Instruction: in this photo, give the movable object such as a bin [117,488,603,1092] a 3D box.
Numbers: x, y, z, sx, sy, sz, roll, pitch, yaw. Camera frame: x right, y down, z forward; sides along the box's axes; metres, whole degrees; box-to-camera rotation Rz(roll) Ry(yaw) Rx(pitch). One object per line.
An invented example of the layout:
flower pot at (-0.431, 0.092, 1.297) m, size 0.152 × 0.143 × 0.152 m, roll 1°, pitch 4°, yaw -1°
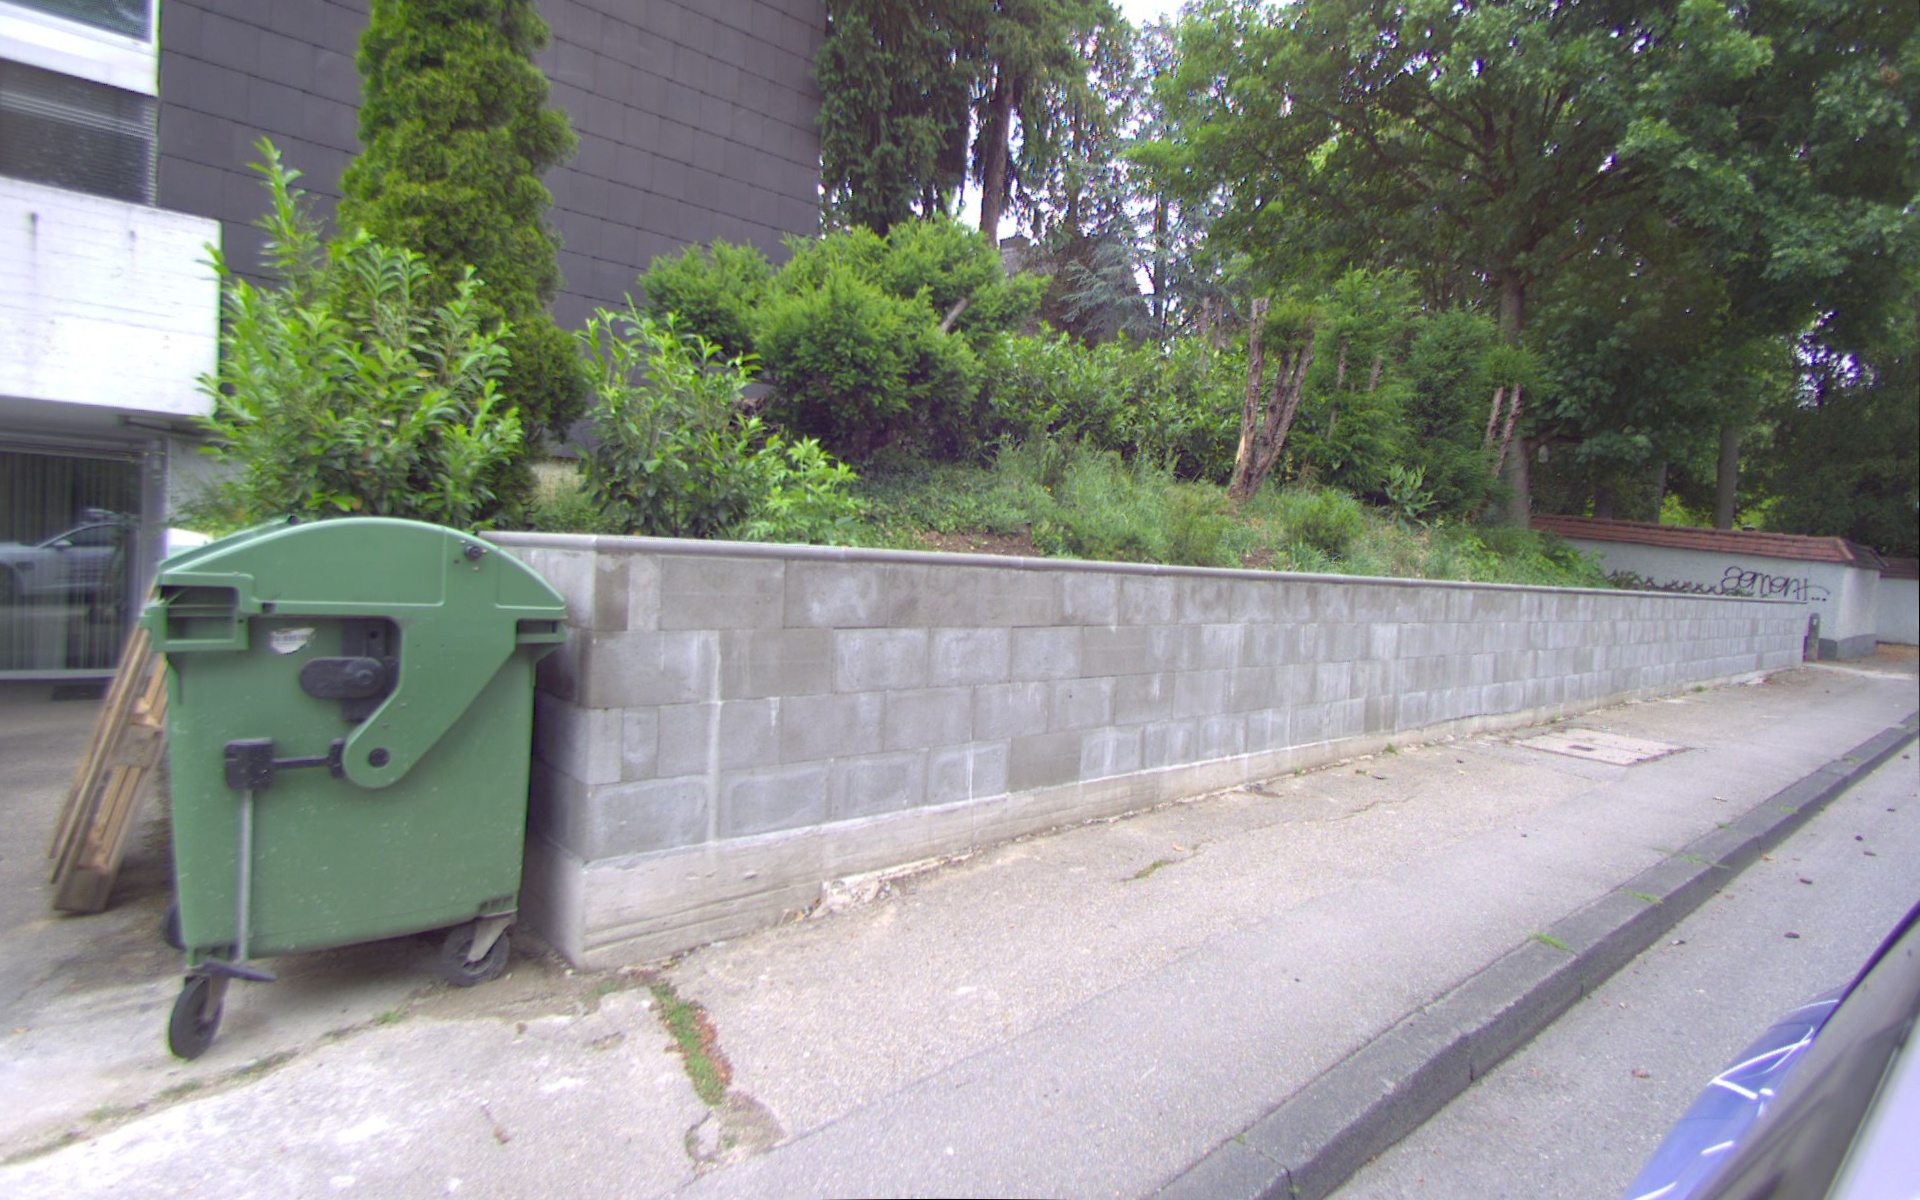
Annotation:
movable object such as a bin at (-1.997, 0.413, 3.310) m, size 1.160 × 1.468 × 1.303 m, roll 0°, pitch 4°, yaw -40°
